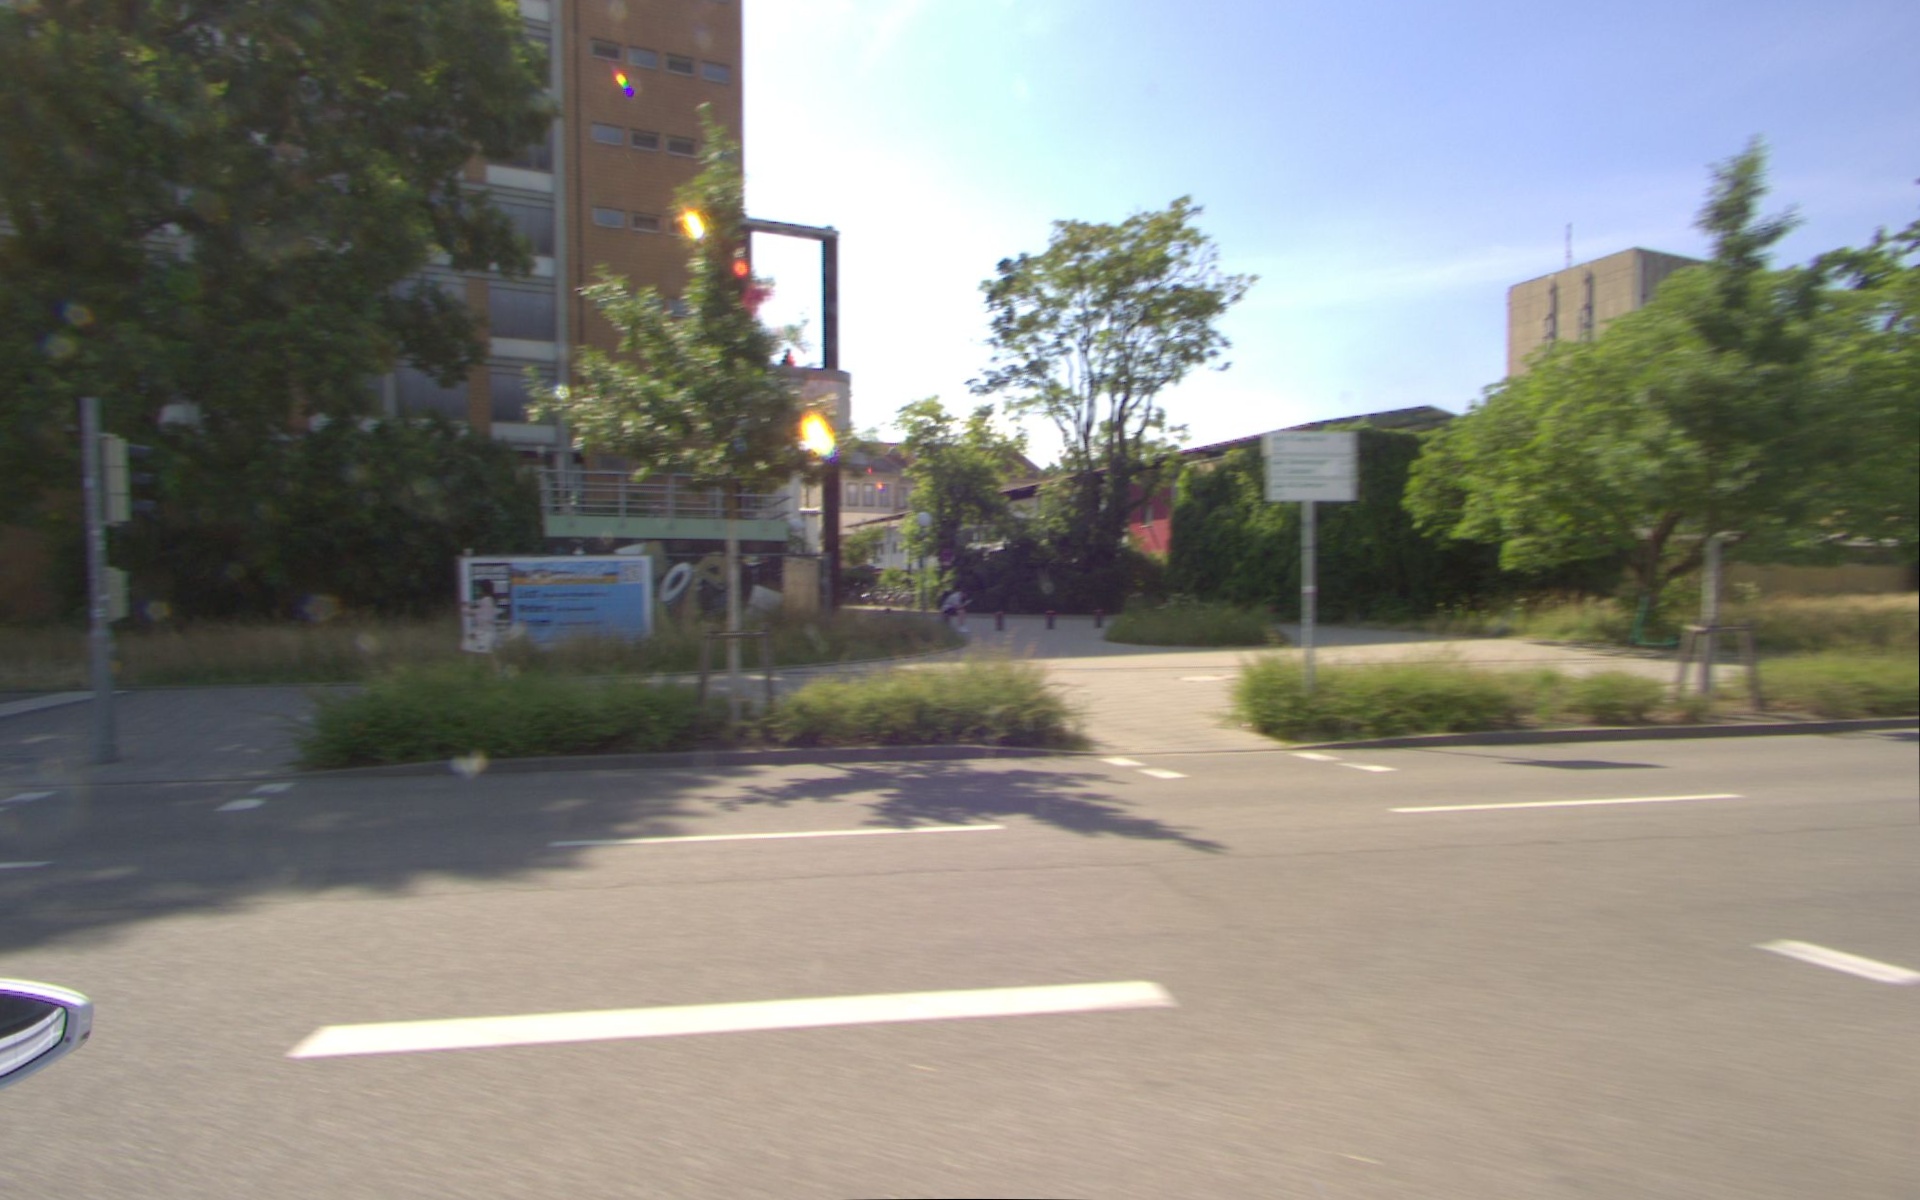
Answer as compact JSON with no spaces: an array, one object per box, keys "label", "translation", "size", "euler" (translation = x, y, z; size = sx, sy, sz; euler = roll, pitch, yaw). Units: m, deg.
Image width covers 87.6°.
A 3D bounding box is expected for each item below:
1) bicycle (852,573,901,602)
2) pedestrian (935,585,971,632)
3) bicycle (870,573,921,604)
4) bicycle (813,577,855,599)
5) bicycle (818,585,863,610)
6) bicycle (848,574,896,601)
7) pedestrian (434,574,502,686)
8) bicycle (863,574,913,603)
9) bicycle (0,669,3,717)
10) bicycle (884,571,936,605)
[{"label":"bicycle","translation":[-4.989,-0.780,59.997],"size":[2.785,1.683,0.838],"euler":[-1,3,-22]},{"label":"pedestrian","translation":[-0.192,0.238,27.216],"size":[0.781,1.230,0.756],"euler":[2,0,-15]},{"label":"bicycle","translation":[-3.720,-0.689,57.867],"size":[2.785,1.768,0.838],"euler":[-1,2,-22]},{"label":"bicycle","translation":[-8.764,-0.828,69.494],"size":[2.785,1.501,0.839],"euler":[-1,2,-22]},{"label":"bicycle","translation":[-7.807,-0.152,65.200],"size":[2.785,1.580,0.839],"euler":[-1,2,-22]},{"label":"bicycle","translation":[-5.375,-0.759,60.966],"size":[2.785,1.609,0.839],"euler":[-1,2,-22]},{"label":"pedestrian","translation":[-7.276,0.429,14.831],"size":[0.800,1.600,0.690],"euler":[-1,1,-20]},{"label":"bicycle","translation":[-4.240,-0.702,58.903],"size":[2.785,1.672,0.839],"euler":[-1,2,-22]},{"label":"bicycle","translation":[-12.605,0.975,11.743],"size":[1.921,0.960,0.693],"euler":[-1,4,-7]},{"label":"bicycle","translation":[-2.781,-0.673,55.816],"size":[2.785,1.861,0.838],"euler":[-1,2,-22]}]
